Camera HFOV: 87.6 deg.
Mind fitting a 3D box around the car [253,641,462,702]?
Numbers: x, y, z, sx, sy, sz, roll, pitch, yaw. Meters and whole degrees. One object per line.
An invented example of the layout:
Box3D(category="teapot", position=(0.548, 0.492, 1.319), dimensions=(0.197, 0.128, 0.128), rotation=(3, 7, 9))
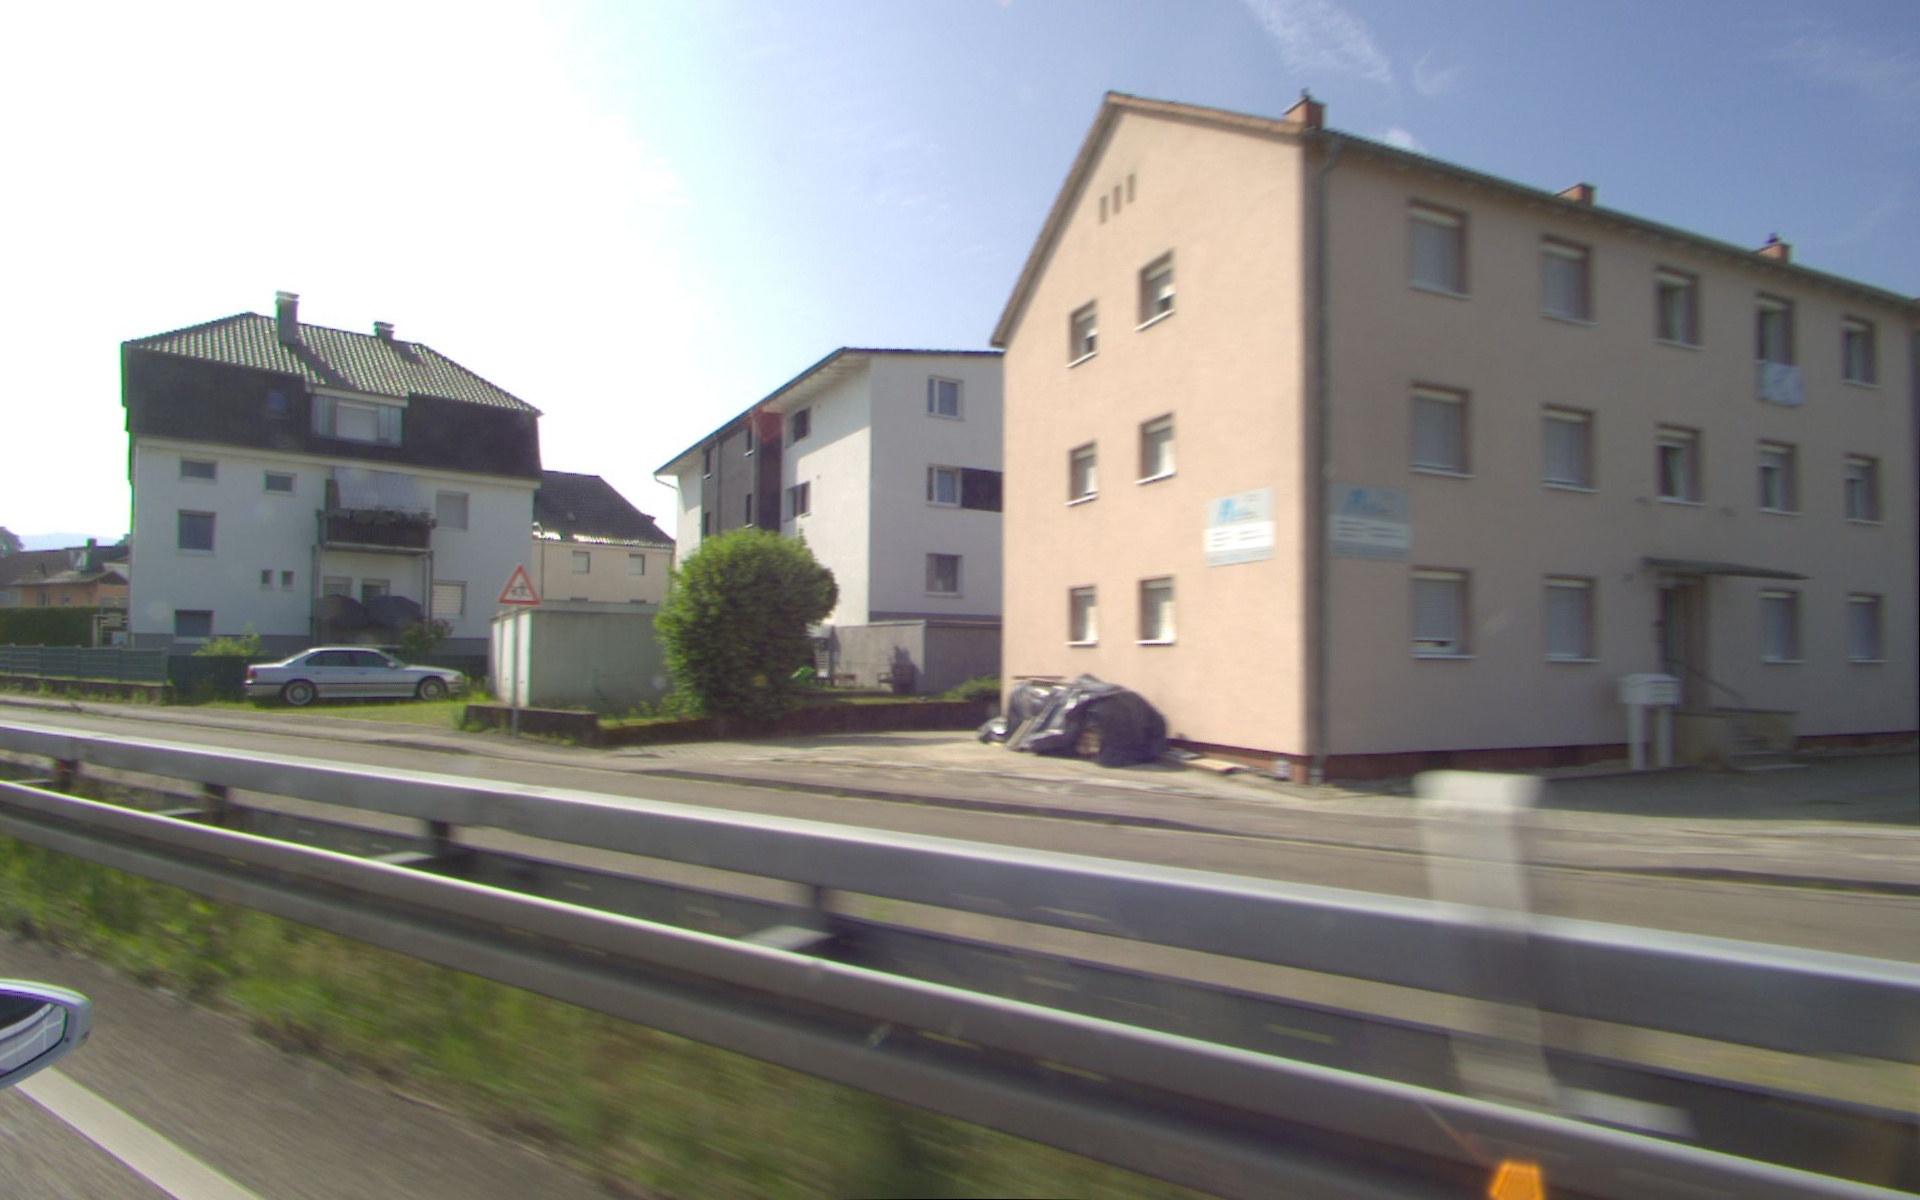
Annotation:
Box3D(category="car", position=(-15.579, 1.812, 26.107), dimensions=(4.547, 1.366, 1.745), rotation=(1, 0, -32))
